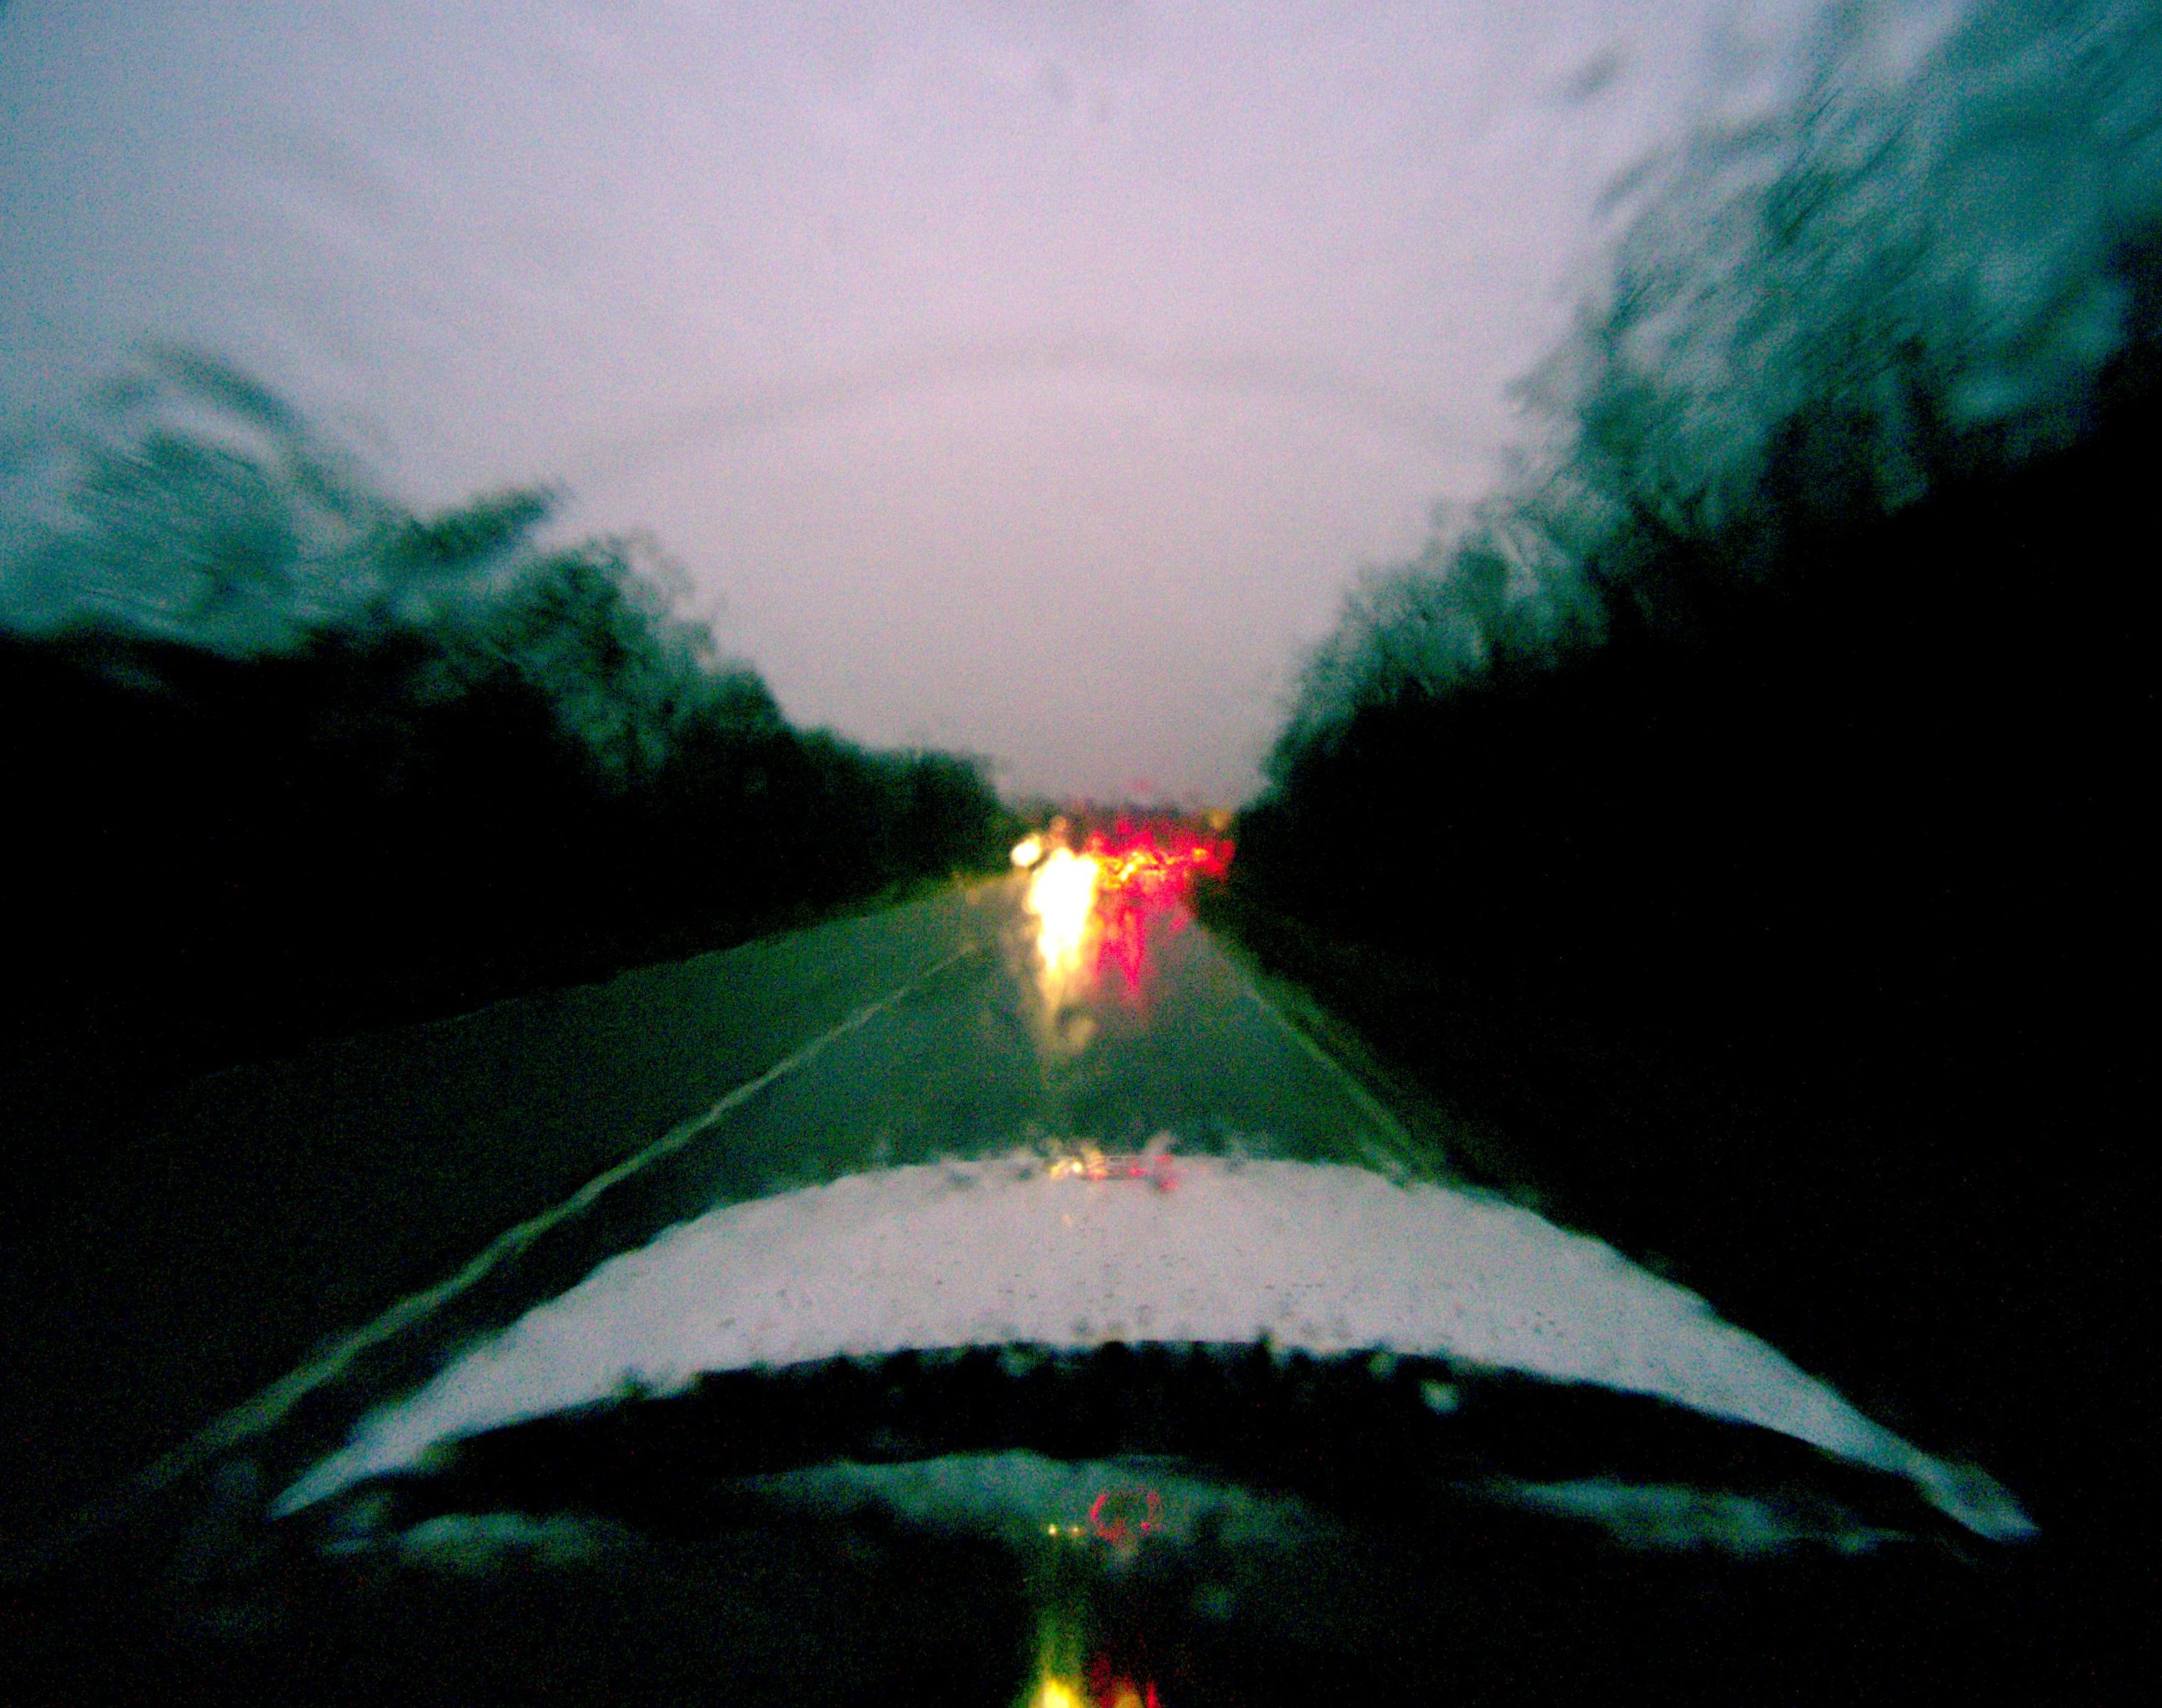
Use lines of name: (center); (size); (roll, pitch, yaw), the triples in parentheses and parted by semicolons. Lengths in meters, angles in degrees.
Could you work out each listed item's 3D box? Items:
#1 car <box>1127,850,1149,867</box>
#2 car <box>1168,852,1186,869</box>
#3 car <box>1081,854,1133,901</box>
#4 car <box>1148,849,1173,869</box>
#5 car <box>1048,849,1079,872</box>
car: (5.629, 0.465, 80.730); (1.997, 1.555, 4.520); (1, 1, 2)
car: (10.505, 0.687, 89.708); (1.672, 1.675, 4.101); (-1, 1, 3)
car: (0.854, 0.737, 28.090); (1.626, 1.421, 4.172); (1, 1, 1)
car: (6.009, 0.385, 61.598); (1.672, 1.389, 4.101); (-1, 1, 2)
car: (-1.138, 0.415, 54.389); (1.757, 1.497, 4.106); (0, 1, 3)
